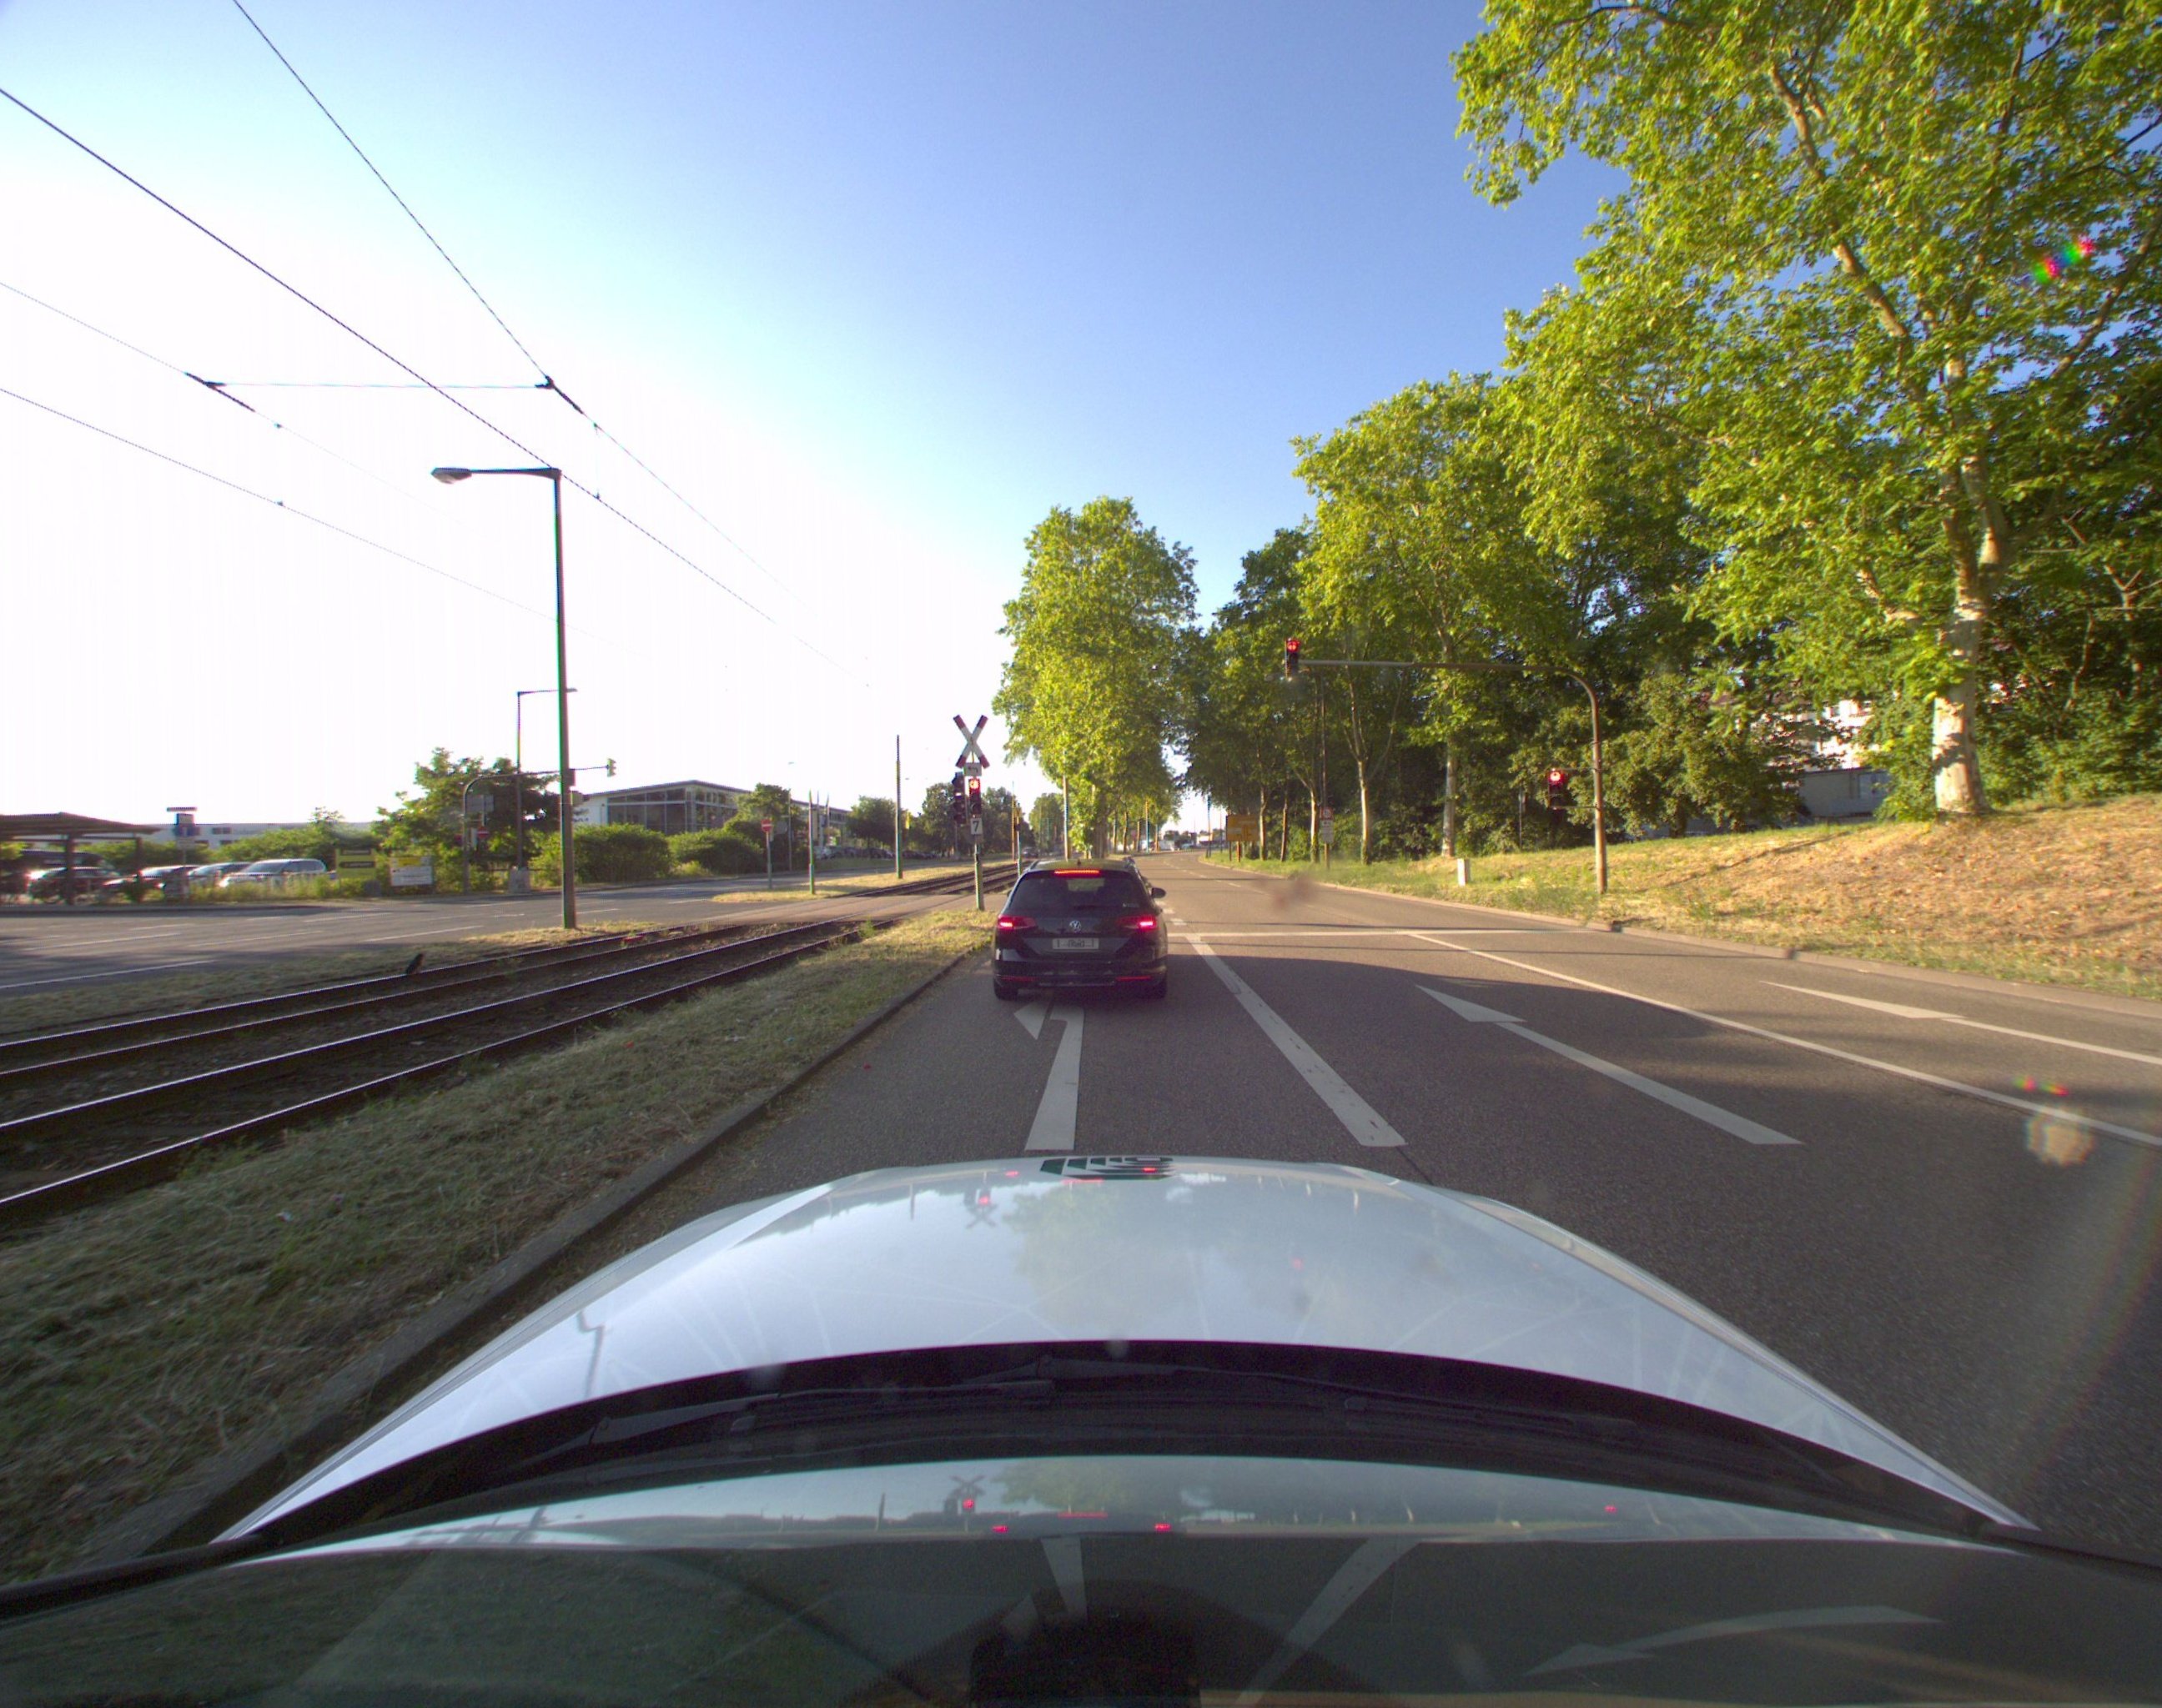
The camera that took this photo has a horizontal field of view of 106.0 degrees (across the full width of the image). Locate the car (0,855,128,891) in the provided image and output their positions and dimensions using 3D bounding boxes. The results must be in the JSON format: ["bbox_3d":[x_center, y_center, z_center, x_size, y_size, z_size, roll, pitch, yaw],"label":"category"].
[{"bbox_3d":[-60.498,1.071,48.481,1.855,2.014,4.773,0,0,2],"label":"car"}]

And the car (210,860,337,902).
[{"bbox_3d":[-38.566,1.245,39.065,1.855,1.821,4.174,0,0,2],"label":"car"}]

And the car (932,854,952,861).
[{"bbox_3d":[-29.314,0.704,171.601,3.977,1.556,1.742,-1,0,-3],"label":"car"}]

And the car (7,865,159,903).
[{"bbox_3d":[-47.201,1.386,38.669,1.971,1.583,4.174,0,0,2],"label":"car"}]

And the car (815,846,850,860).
[{"bbox_3d":[-30.202,-0.100,99.061,3.999,1.704,1.732,-1,0,-19],"label":"car"}]

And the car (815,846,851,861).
[{"bbox_3d":[-29.505,-0.111,96.795,3.999,1.704,1.732,-1,0,-19],"label":"car"}]

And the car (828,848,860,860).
[{"bbox_3d":[-31.651,0.054,108.882,3.999,1.556,1.732,-1,0,-19],"label":"car"}]

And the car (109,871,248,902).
[{"bbox_3d":[-42.511,1.492,38.530,1.855,1.266,4.174,0,1,2],"label":"car"}]

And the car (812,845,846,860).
[{"bbox_3d":[-31.911,-0.144,103.190,3.999,1.816,1.732,-1,0,-19],"label":"car"}]

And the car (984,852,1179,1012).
[{"bbox_3d":[0.045,0.718,9.313,1.788,1.464,3.583,0,0,1],"label":"car"}]

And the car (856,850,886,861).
[{"bbox_3d":[-31.334,0.192,121.499,3.980,1.556,1.741,-1,0,-5],"label":"car"}]

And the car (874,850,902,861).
[{"bbox_3d":[-30.473,0.239,128.625,3.978,1.621,1.742,-1,0,-3],"label":"car"}]

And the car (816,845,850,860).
[{"bbox_3d":[-30.862,-0.141,101.413,3.999,1.816,1.732,-1,0,-19],"label":"car"}]

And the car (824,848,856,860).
[{"bbox_3d":[-31.427,0.018,106.092,3.999,1.556,1.732,-1,0,-19],"label":"car"}]

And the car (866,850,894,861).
[{"bbox_3d":[-30.950,0.205,125.421,3.978,1.621,1.742,-1,0,-3],"label":"car"}]

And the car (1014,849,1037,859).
[{"bbox_3d":[-8.458,-0.052,123.976,1.846,1.481,4.193,0,1,20],"label":"car"}]

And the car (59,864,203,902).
[{"bbox_3d":[-44.751,1.335,38.525,1.855,1.583,4.174,0,0,2],"label":"car"}]

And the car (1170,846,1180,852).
[{"bbox_3d":[25.542,-1.432,222.008,1.859,1.481,4.083,-1,0,-6],"label":"car"}]
